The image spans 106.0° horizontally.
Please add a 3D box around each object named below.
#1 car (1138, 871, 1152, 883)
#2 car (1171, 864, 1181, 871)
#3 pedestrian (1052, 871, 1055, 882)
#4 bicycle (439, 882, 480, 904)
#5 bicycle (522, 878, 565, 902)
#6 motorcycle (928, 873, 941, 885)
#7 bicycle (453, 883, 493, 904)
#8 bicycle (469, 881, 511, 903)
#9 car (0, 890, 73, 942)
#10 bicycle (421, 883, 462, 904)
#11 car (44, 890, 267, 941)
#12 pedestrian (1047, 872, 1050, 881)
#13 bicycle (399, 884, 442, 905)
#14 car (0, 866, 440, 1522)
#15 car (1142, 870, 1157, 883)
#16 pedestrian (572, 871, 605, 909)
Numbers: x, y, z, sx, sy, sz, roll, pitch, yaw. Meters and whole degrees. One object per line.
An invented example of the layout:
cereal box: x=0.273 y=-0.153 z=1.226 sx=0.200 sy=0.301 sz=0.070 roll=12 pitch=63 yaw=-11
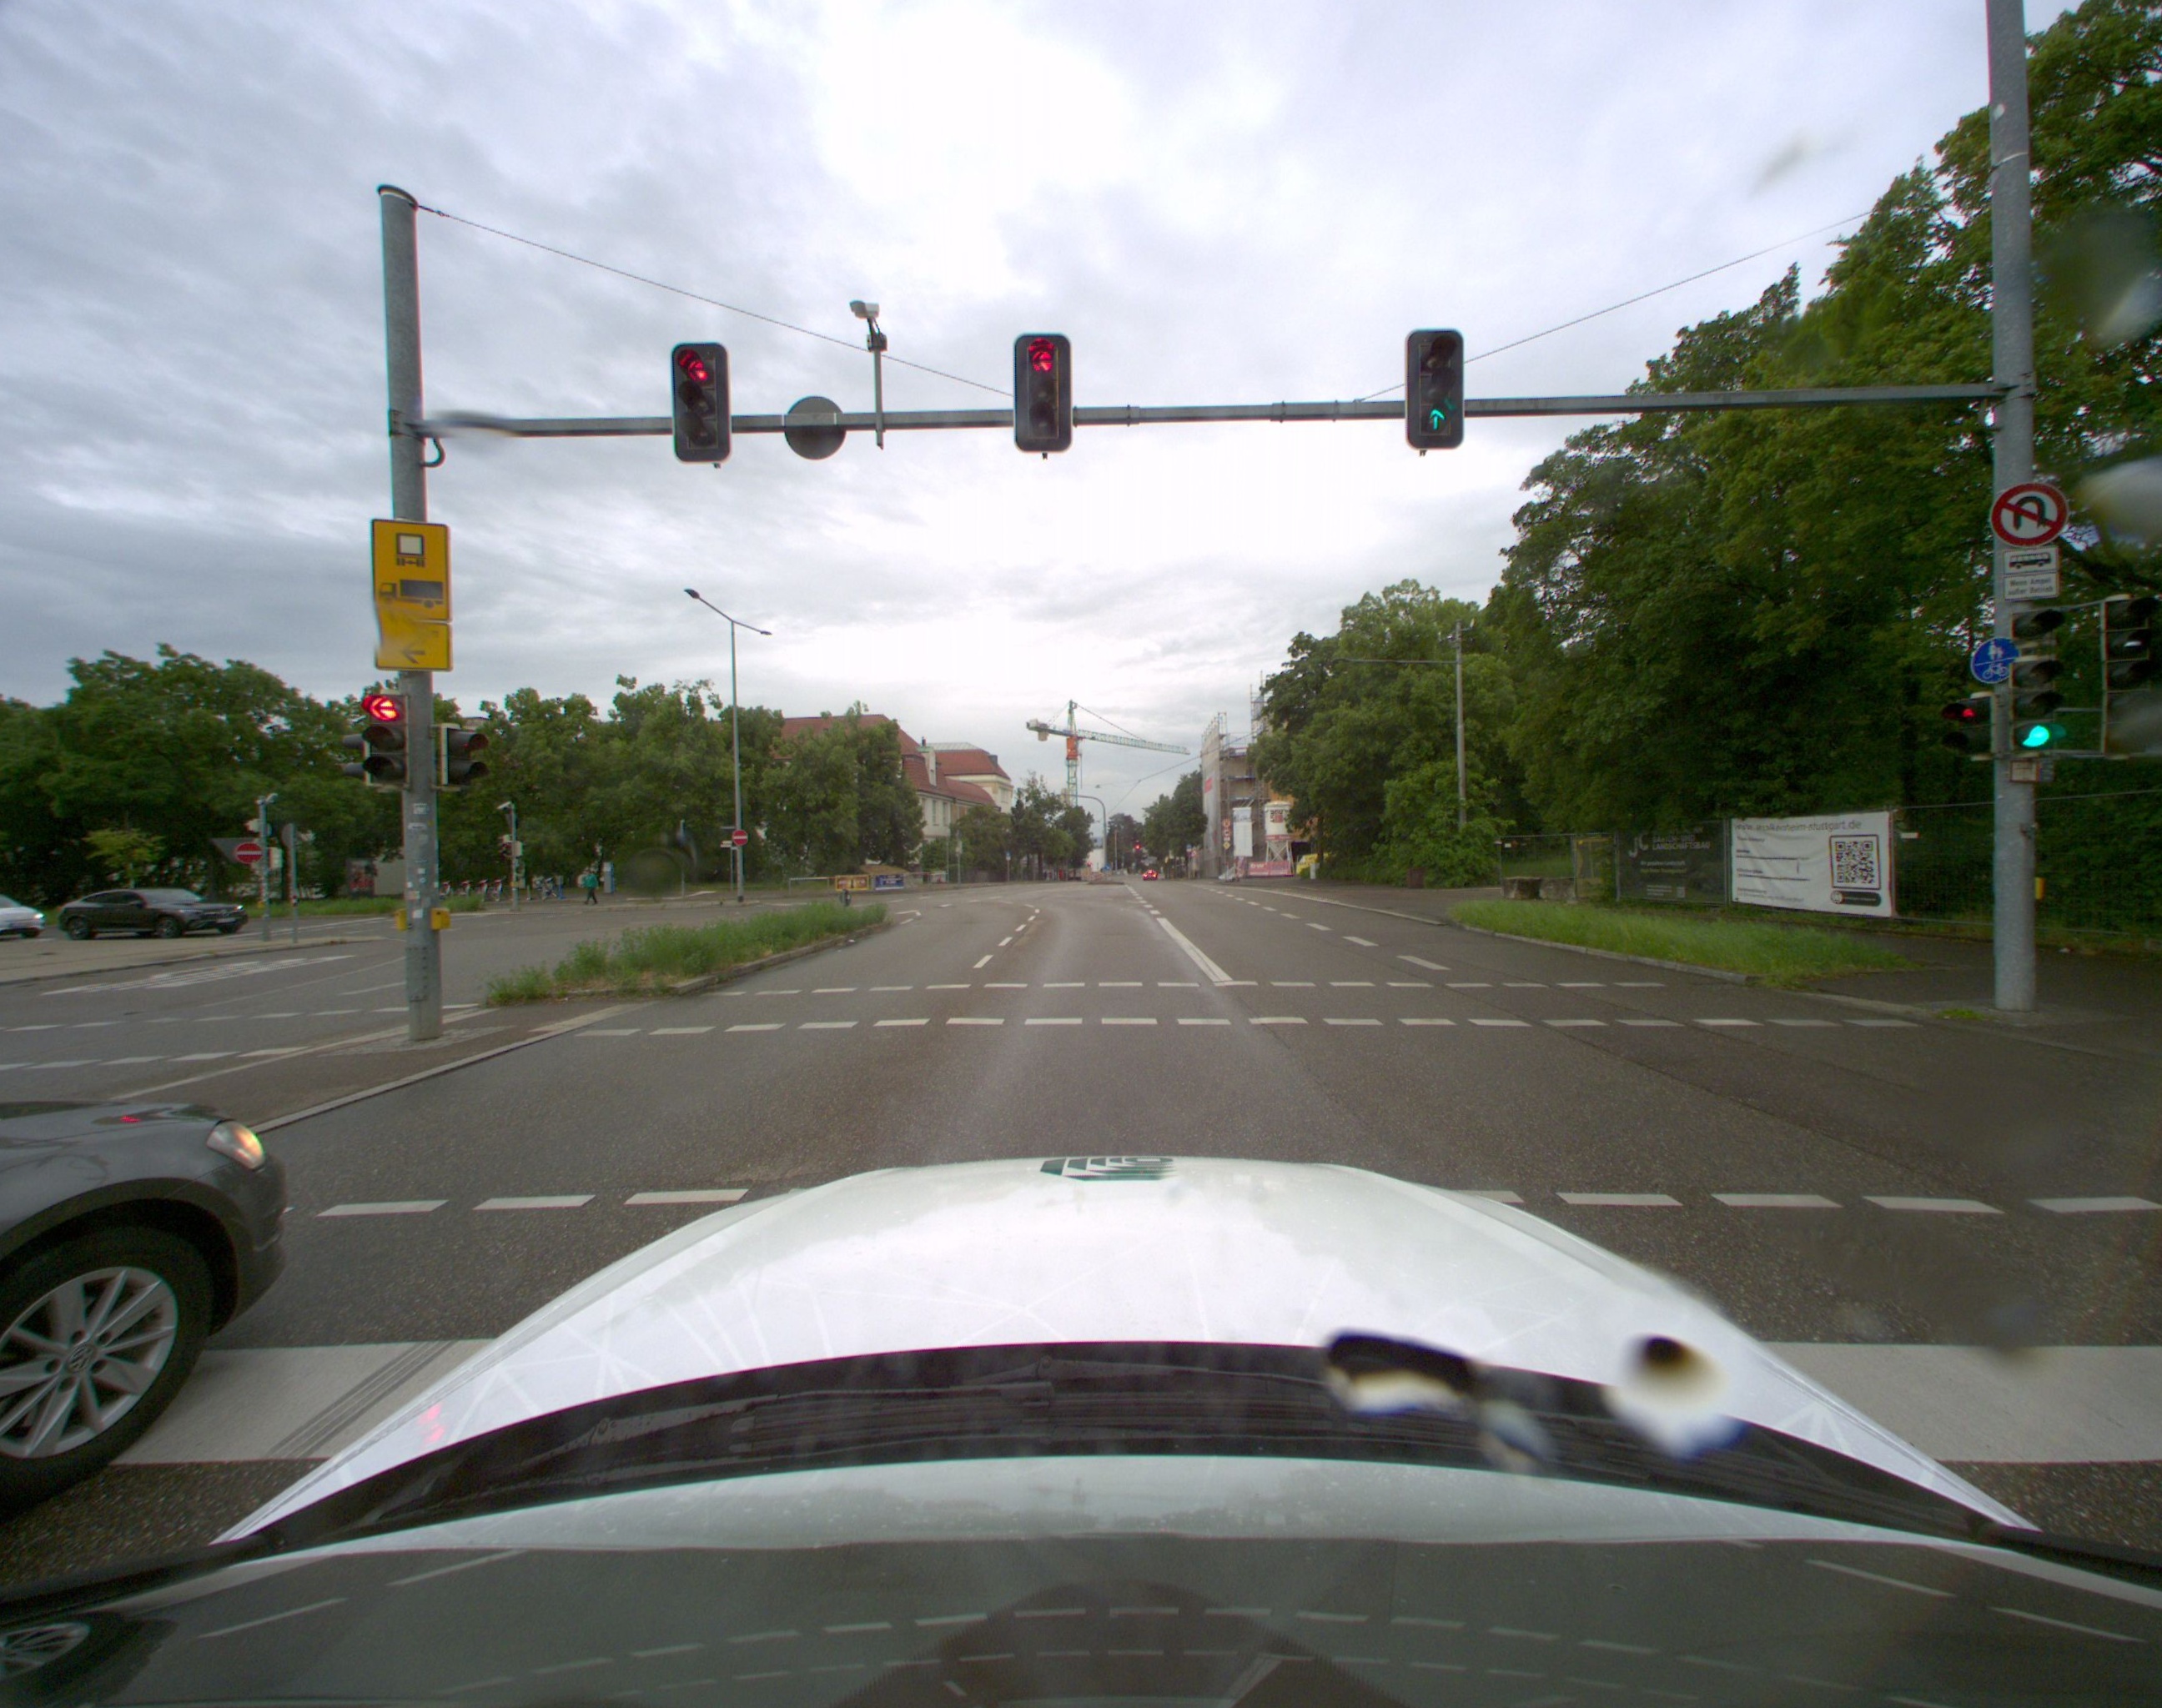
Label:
car: x=10.205 y=3.660 z=130.759 sx=1.986 sy=1.750 sz=4.001 roll=-2 pitch=0 yaw=1
car: x=25.540 y=3.505 z=218.930 sx=1.980 sy=1.750 sz=4.014 roll=-2 pitch=0 yaw=13
pedestrian: x=-4.134 y=3.450 z=122.478 sx=0.492 sy=1.645 sz=0.533 roll=0 pitch=-1 yaw=-4
bicycle: x=-33.907 y=2.115 z=44.449 sx=0.649 sy=1.071 sz=1.982 roll=0 pitch=-1 yaw=2
bicycle: x=-29.435 y=1.940 z=44.614 sx=0.987 sy=1.249 sz=1.982 roll=0 pitch=-1 yaw=2
motorcycle: x=-11.652 y=1.989 z=64.958 sx=0.846 sy=0.877 sz=0.877 roll=0 pitch=-1 yaw=1
bicycle: x=-33.017 y=2.119 z=44.274 sx=0.649 sy=1.071 sz=1.982 roll=0 pitch=-1 yaw=2
bicycle: x=-32.268 y=2.067 z=44.505 sx=0.798 sy=1.071 sz=1.982 roll=0 pitch=-1 yaw=2
car: x=-36.497 y=2.037 z=27.050 sx=3.539 sy=1.594 sz=2.001 roll=0 pitch=-1 yaw=1
bicycle: x=-34.986 y=2.143 z=44.580 sx=0.649 sy=1.071 sz=1.982 roll=0 pitch=-1 yaw=2
car: x=-30.076 y=1.985 z=26.584 sx=5.006 sy=1.500 sz=2.001 roll=0 pitch=-1 yaw=1
pedestrian: x=-4.902 y=3.364 z=122.379 sx=0.473 sy=1.396 sz=0.411 roll=-2 pitch=0 yaw=1
bicycle: x=-35.963 y=2.178 z=44.365 sx=0.649 sy=1.071 sz=1.982 roll=0 pitch=-1 yaw=2
car: x=-3.419 y=0.804 z=0.910 sx=1.809 sy=1.481 sz=4.378 roll=-2 pitch=0 yaw=2
car: x=10.480 y=3.400 z=124.848 sx=1.986 sy=1.750 sz=4.001 roll=-2 pitch=0 yaw=1
pedestrian: x=-22.826 y=1.654 z=37.746 sx=0.917 sy=1.727 sz=0.949 roll=-1 pitch=-1 yaw=11
